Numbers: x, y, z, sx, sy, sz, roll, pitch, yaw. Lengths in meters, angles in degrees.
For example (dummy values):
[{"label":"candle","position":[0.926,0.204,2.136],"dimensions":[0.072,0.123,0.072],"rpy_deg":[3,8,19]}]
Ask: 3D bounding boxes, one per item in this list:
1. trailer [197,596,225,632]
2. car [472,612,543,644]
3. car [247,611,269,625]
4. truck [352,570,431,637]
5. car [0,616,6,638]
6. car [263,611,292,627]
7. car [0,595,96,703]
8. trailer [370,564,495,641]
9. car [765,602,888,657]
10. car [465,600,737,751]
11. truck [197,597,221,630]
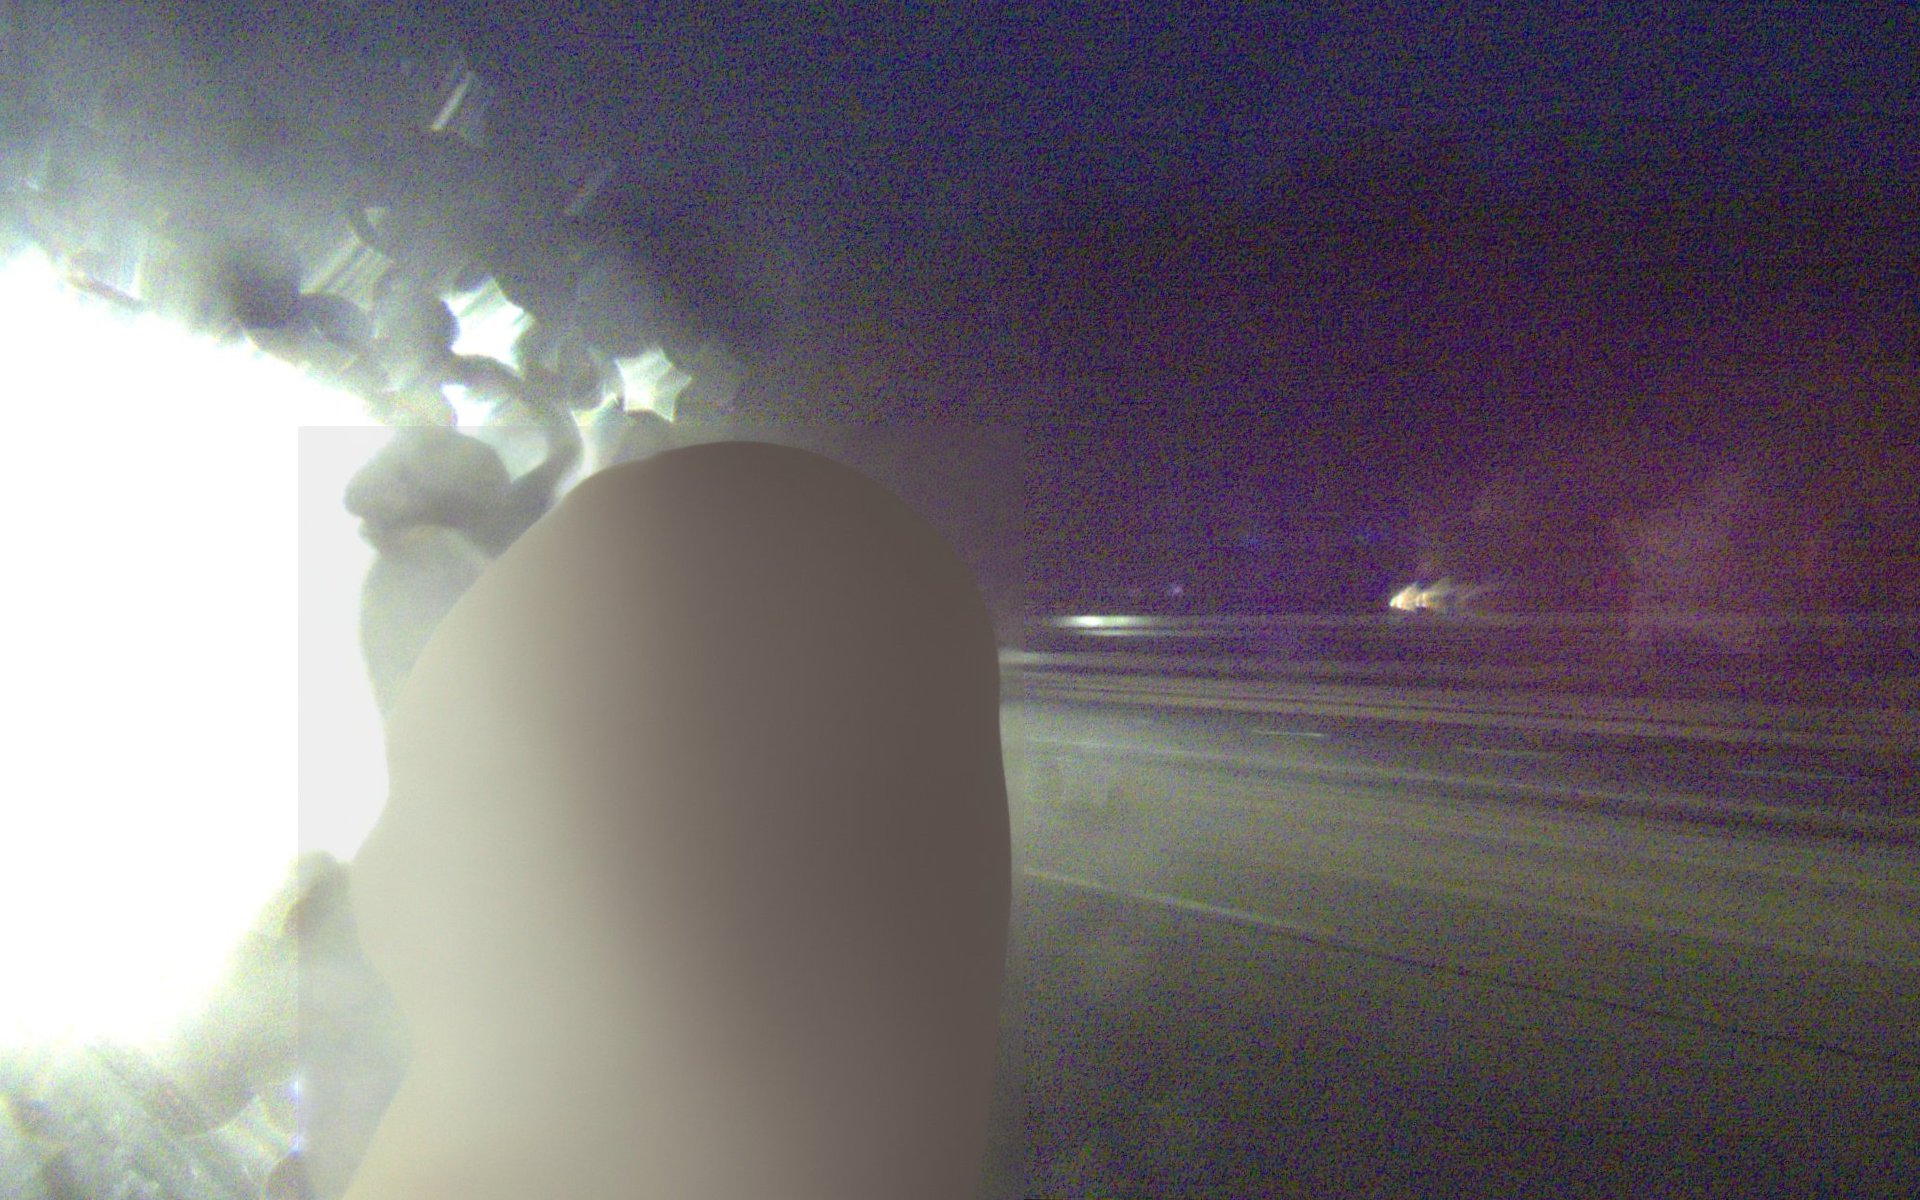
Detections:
[{"label":"trailer","position":[-101.741,1.846,137.364],"dimensions":[2.542,4.490,12.517],"rpy_deg":[-2,1,-38]},{"label":"car","position":[-26.015,1.591,58.160],"dimensions":[3.987,1.726,1.817],"rpy_deg":[-1,0,32]},{"label":"car","position":[-88.703,2.281,127.867],"dimensions":[1.969,1.741,4.006],"rpy_deg":[-1,0,-40]},{"label":"truck","position":[-30.851,0.177,54.867],"dimensions":[2.575,3.483,4.644],"rpy_deg":[-1,0,-45]},{"label":"car","position":[-95.134,2.693,98.957],"dimensions":[3.995,2.028,1.975],"rpy_deg":[-1,3,38]},{"label":"car","position":[-73.938,2.037,109.572],"dimensions":[1.875,1.655,4.200],"rpy_deg":[-1,1,-44]},{"label":"car","position":[-19.974,1.010,21.762],"dimensions":[4.465,2.121,1.730],"rpy_deg":[-2,-2,45]},{"label":"trailer","position":[-26.330,0.128,50.200],"dimensions":[2.579,3.498,10.454],"rpy_deg":[-1,0,-44]},{"label":"car","position":[-3.697,0.752,27.754],"dimensions":[3.242,1.352,1.587],"rpy_deg":[0,2,42]},{"label":"car","position":[-4.572,0.853,12.615],"dimensions":[3.849,1.587,1.631],"rpy_deg":[-2,-2,43]},{"label":"truck","position":[-106.379,1.900,143.313],"dimensions":[2.531,4.437,5.863],"rpy_deg":[-2,1,-37]}]
